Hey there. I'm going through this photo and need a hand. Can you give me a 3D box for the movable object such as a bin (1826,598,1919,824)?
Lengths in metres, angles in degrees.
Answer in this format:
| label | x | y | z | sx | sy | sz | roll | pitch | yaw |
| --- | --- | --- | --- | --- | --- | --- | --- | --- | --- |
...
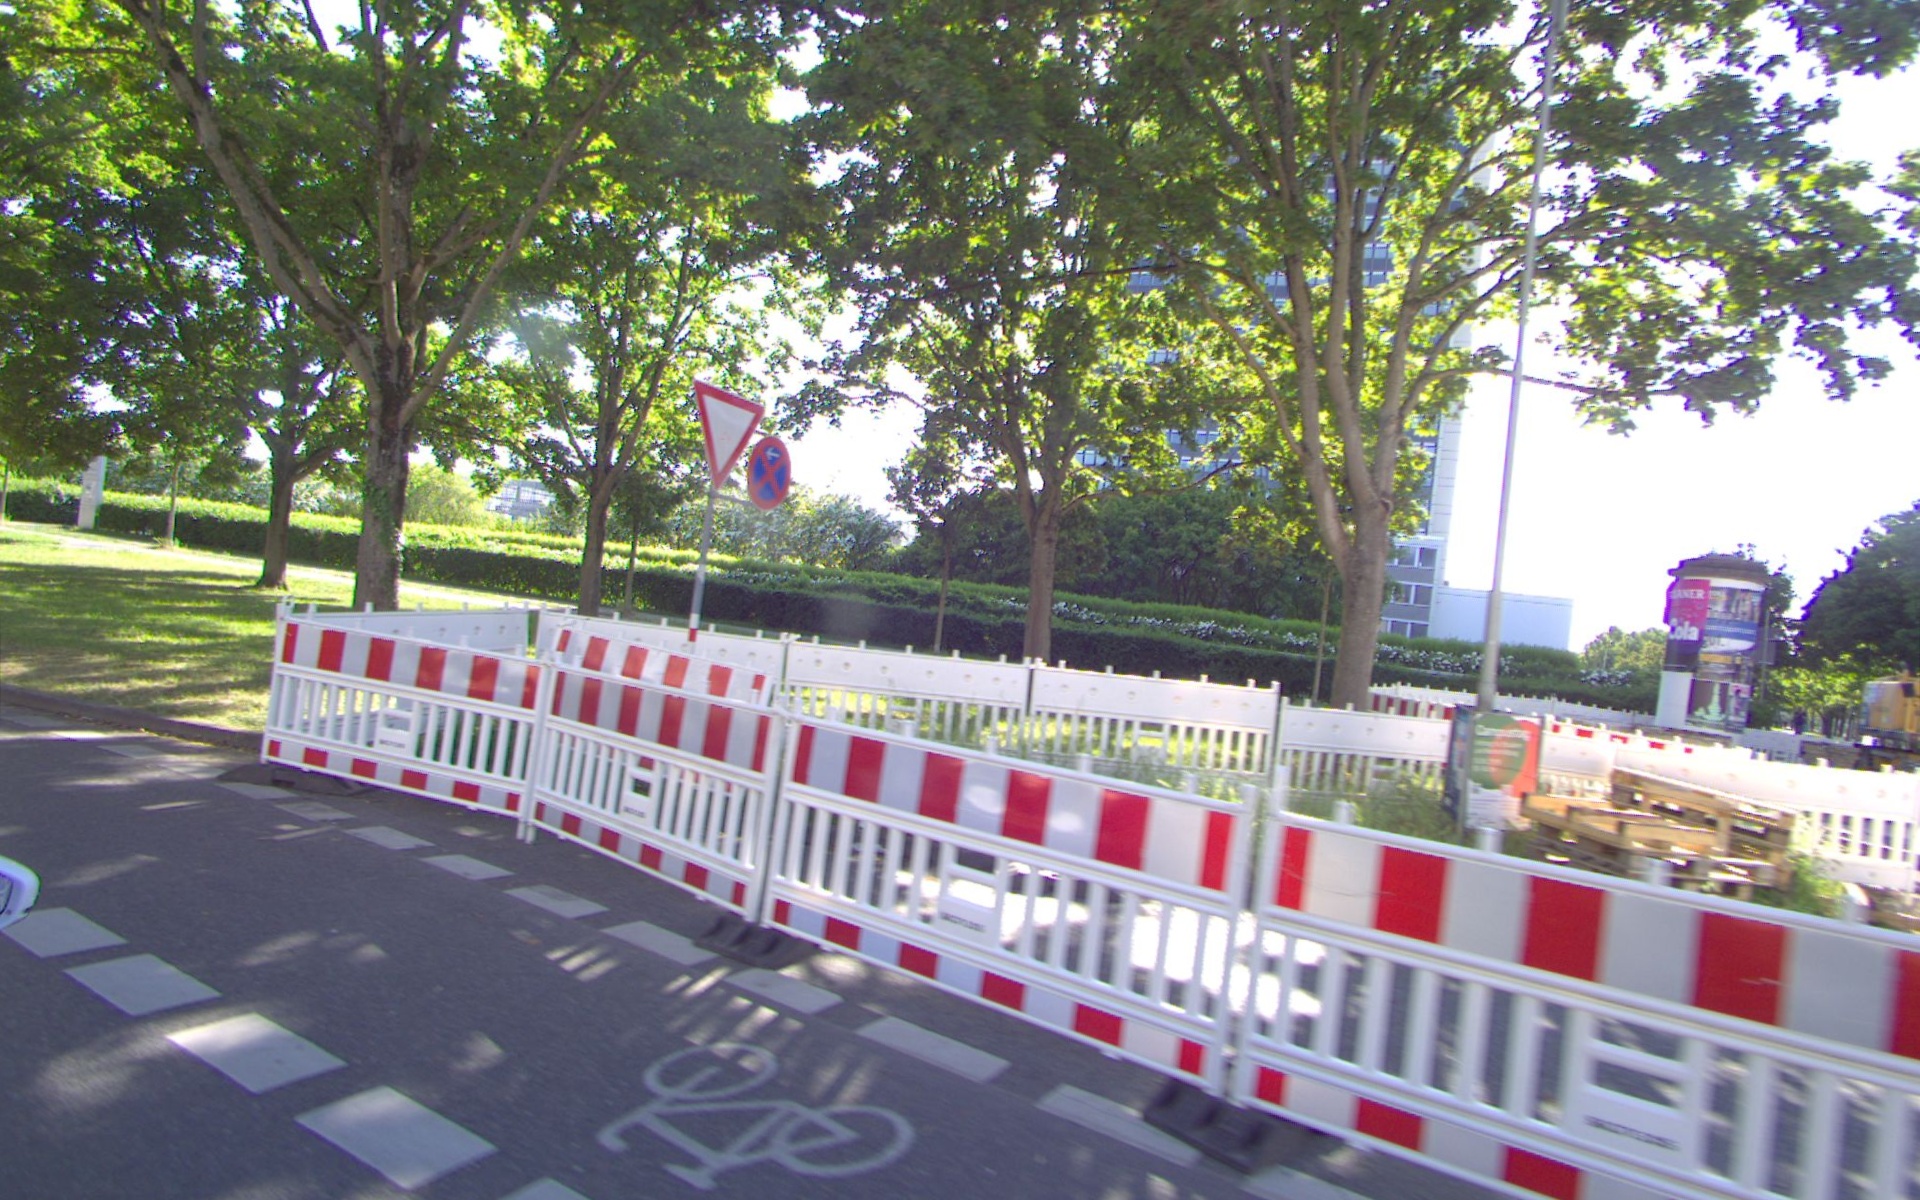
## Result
| label | x | y | z | sx | sy | sz | roll | pitch | yaw |
| --- | --- | --- | --- | --- | --- | --- | --- | --- | --- |
| movable object such as a bin | 16.675 | 1.952 | 16.360 | 2.787 | 3.403 | 4.705 | 6 | -2 | 30 |
